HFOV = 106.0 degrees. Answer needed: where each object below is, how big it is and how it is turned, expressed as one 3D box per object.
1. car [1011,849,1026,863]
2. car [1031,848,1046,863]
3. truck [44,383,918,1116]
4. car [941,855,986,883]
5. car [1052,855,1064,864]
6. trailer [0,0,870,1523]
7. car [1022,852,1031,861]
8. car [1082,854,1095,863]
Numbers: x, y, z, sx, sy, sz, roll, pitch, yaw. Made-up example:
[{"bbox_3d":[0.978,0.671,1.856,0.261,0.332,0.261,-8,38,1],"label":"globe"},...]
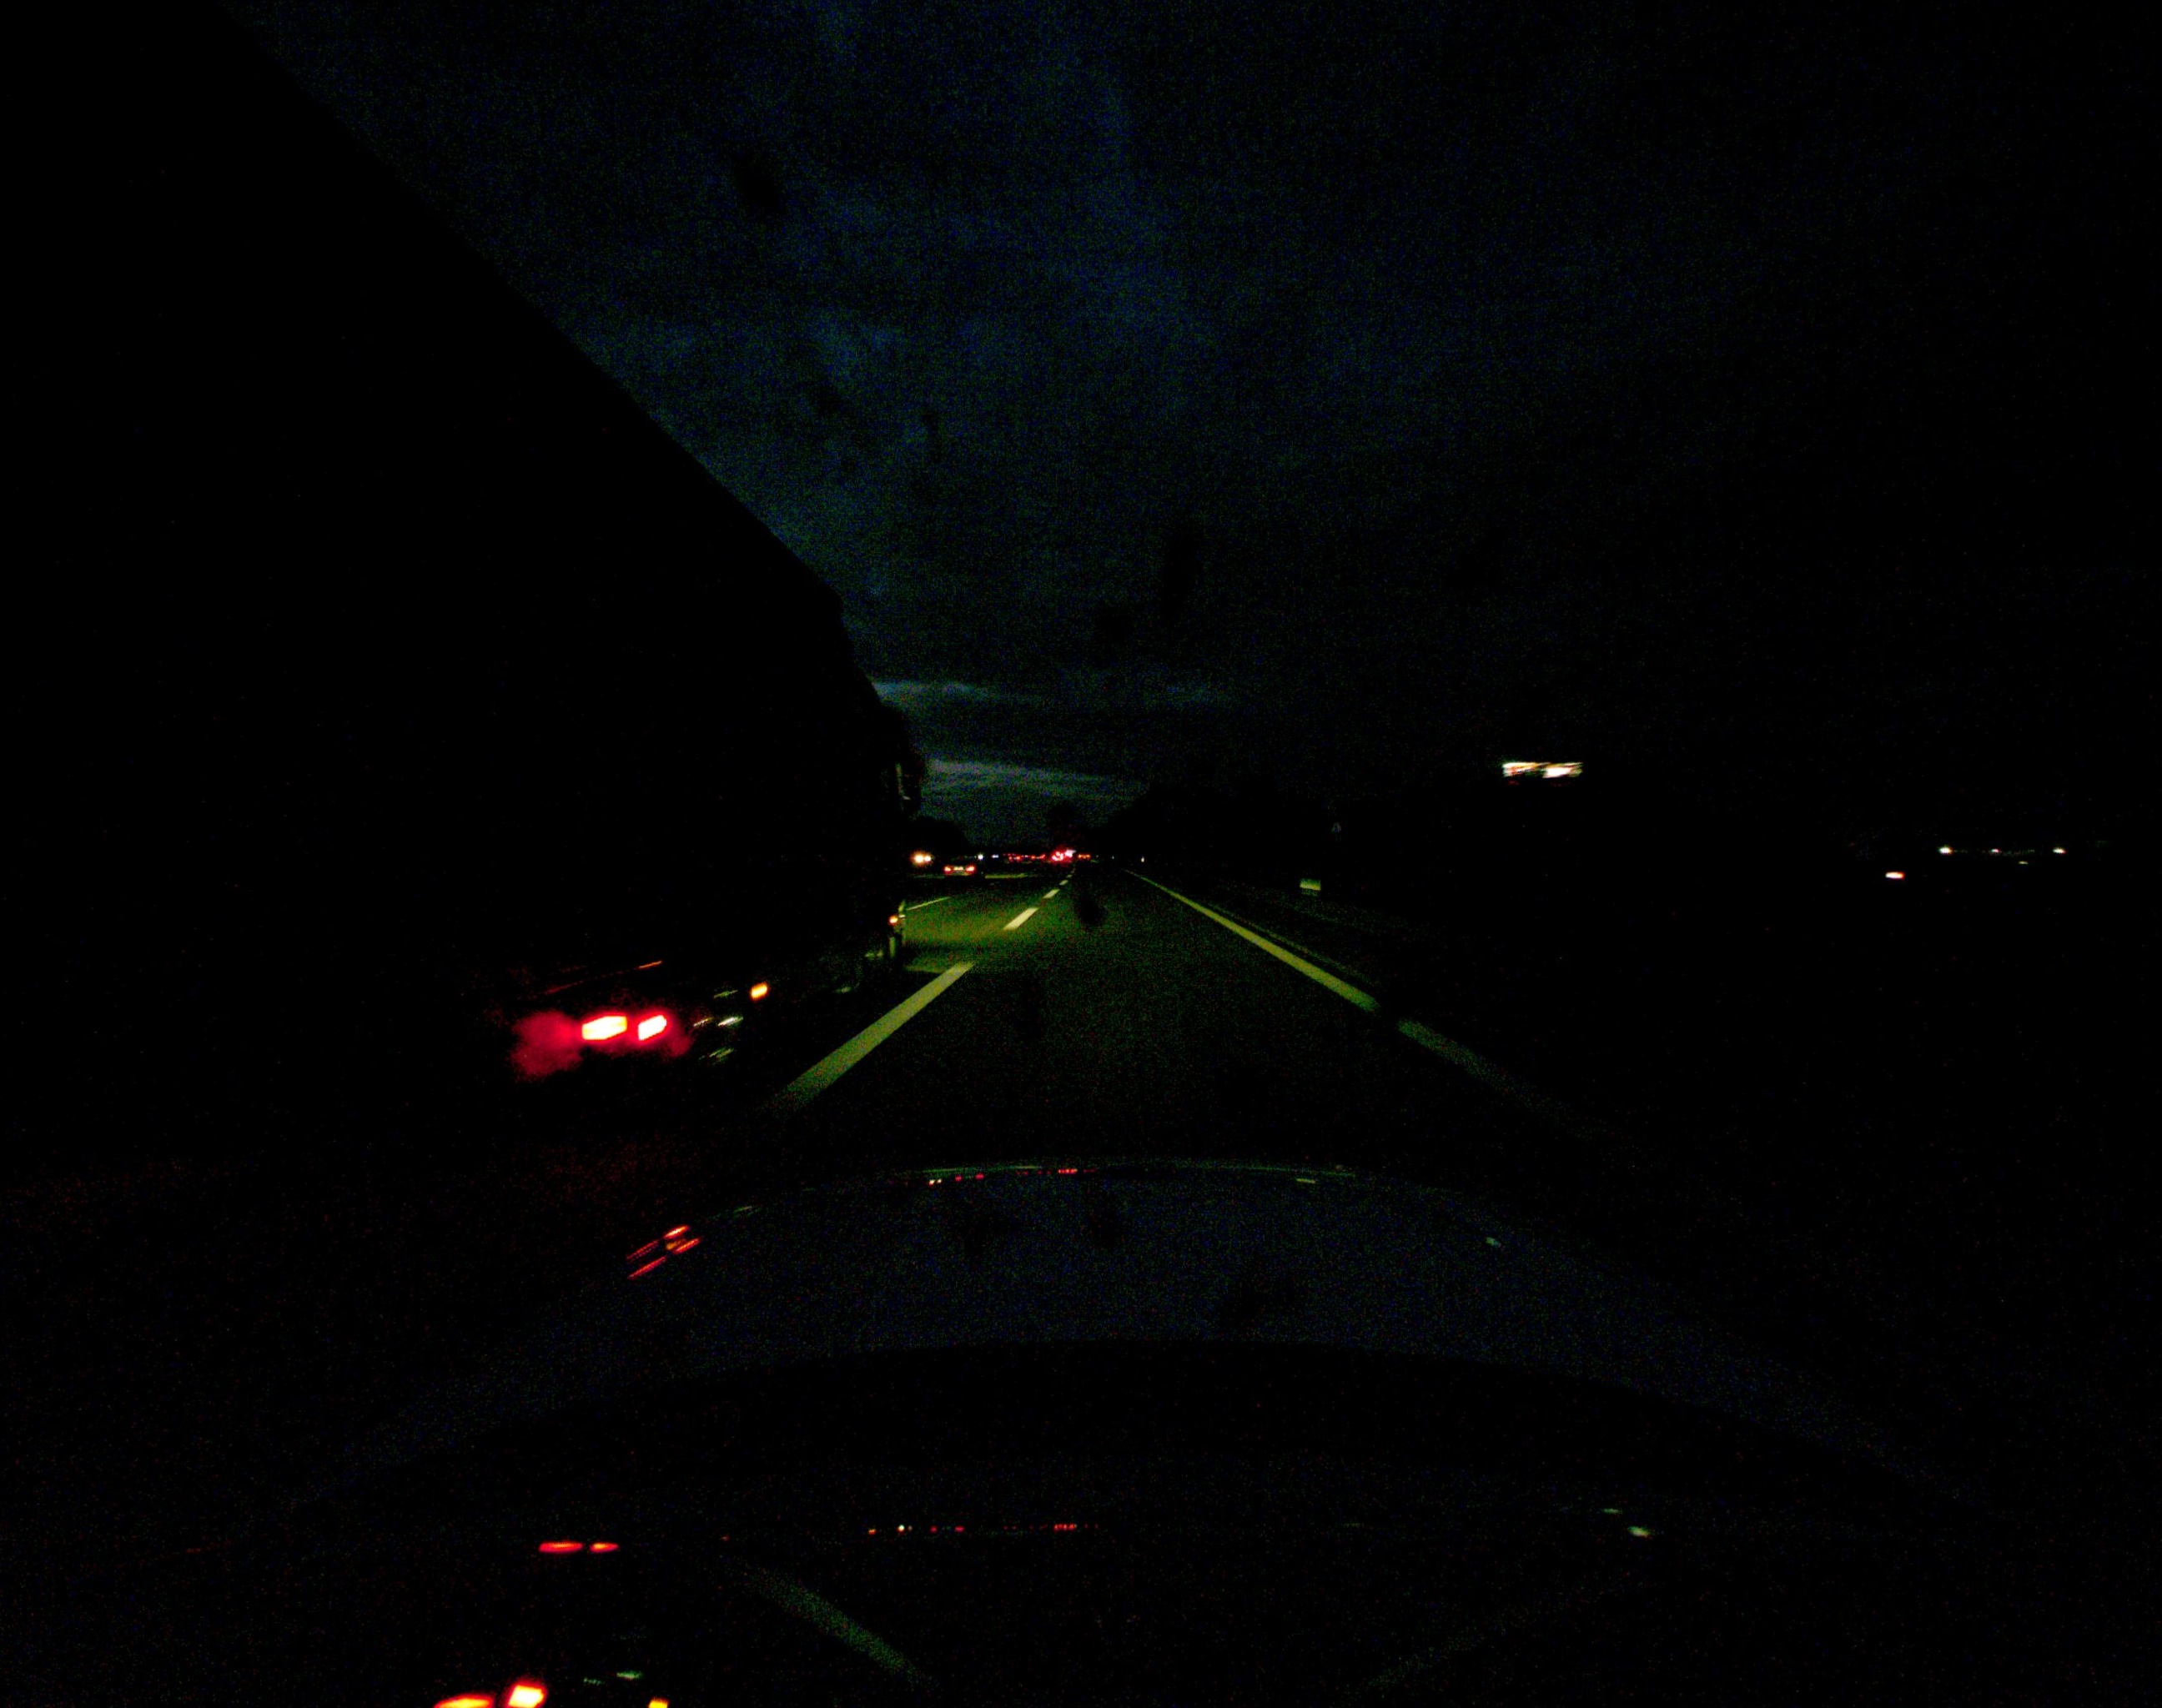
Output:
[{"bbox_3d":[-10.258,0.361,133.582,1.986,2.047,4.000,0,-3,2],"label":"car"},{"bbox_3d":[-6.759,0.247,129.409,1.986,2.080,4.000,0,-3,2],"label":"car"},{"bbox_3d":[-4.015,-0.591,7.673,3.538,4.091,6.153,-1,0,1],"label":"truck"},{"bbox_3d":[-6.767,0.856,47.263,1.892,1.494,4.152,1,-1,2],"label":"car"},{"bbox_3d":[-4.029,0.976,142.050,1.878,1.354,4.000,0,-3,2],"label":"car"},{"bbox_3d":[-4.195,-0.560,1.011,3.537,4.116,15.067,-1,0,1],"label":"trailer"},{"bbox_3d":[-13.684,0.696,204.999,1.986,2.014,4.001,0,-3,2],"label":"car"},{"bbox_3d":[1.171,0.720,130.178,1.986,1.354,4.000,0,-3,2],"label":"car"}]
